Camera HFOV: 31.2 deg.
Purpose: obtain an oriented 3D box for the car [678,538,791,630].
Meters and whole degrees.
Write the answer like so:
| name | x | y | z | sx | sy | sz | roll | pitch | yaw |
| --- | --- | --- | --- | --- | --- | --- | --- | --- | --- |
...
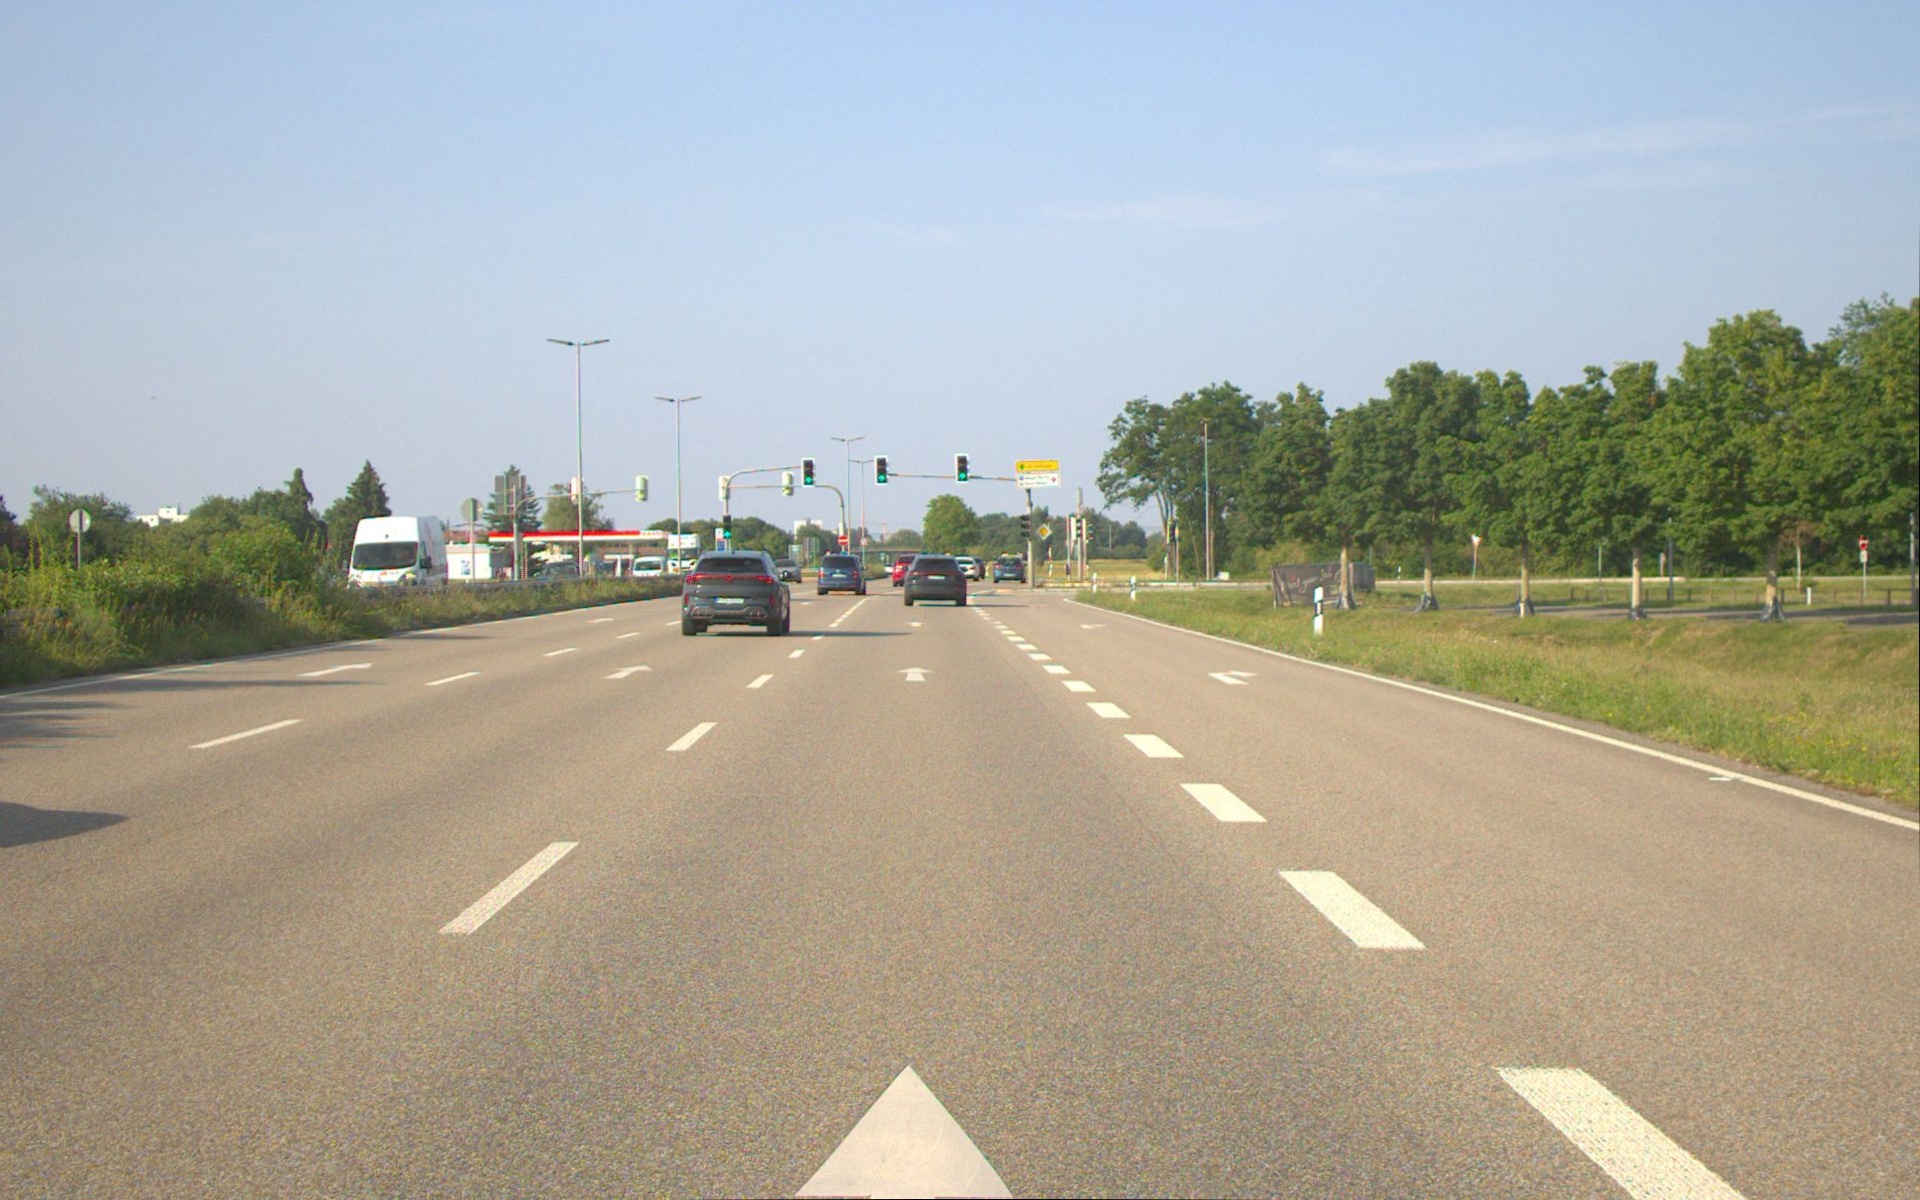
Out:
| name | x | y | z | sx | sy | sz | roll | pitch | yaw |
| --- | --- | --- | --- | --- | --- | --- | --- | --- | --- |
| car | -4.208 | -0.326 | 64.757 | 1.845 | 1.606 | 4.401 | 2 | 1 | -1 |

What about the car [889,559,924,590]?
| name | x | y | z | sx | sy | sz | roll | pitch | yaw |
| --- | --- | --- | --- | --- | --- | --- | --- | --- | --- |
| car | -2.651 | -1.261 | 170.531 | 1.647 | 1.458 | 3.981 | 2 | 1 | -1 |

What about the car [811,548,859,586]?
| name | x | y | z | sx | sy | sz | roll | pitch | yaw |
| --- | --- | --- | --- | --- | --- | --- | --- | --- | --- |
| car | -5.080 | -1.372 | 140.125 | 1.812 | 1.458 | 4.401 | 2 | 1 | -1 |

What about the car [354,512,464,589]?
| name | x | y | z | sx | sy | sz | roll | pitch | yaw |
| --- | --- | --- | --- | --- | --- | --- | --- | --- | --- |
| car | -15.415 | -1.355 | 96.511 | 2.161 | 2.028 | 6.323 | 1 | 0 | -1 |

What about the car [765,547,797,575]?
| name | x | y | z | sx | sy | sz | roll | pitch | yaw |
| --- | --- | --- | --- | --- | --- | --- | --- | --- | --- |
| car | -10.223 | -2.223 | 196.644 | 1.600 | 1.527 | 4.000 | 2 | 1 | -1 |

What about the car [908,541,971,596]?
| name | x | y | z | sx | sy | sz | roll | pitch | yaw |
| --- | --- | --- | --- | --- | --- | --- | --- | --- | --- |
| car | -0.676 | -1.026 | 109.651 | 1.932 | 1.674 | 4.401 | 2 | 1 | -1 |

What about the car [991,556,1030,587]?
| name | x | y | z | sx | sy | sz | roll | pitch | yaw |
| --- | --- | --- | --- | --- | --- | --- | --- | --- | --- |
| car | 2.780 | -1.571 | 189.586 | 1.946 | 1.630 | 3.448 | 1 | 0 | -2 |
